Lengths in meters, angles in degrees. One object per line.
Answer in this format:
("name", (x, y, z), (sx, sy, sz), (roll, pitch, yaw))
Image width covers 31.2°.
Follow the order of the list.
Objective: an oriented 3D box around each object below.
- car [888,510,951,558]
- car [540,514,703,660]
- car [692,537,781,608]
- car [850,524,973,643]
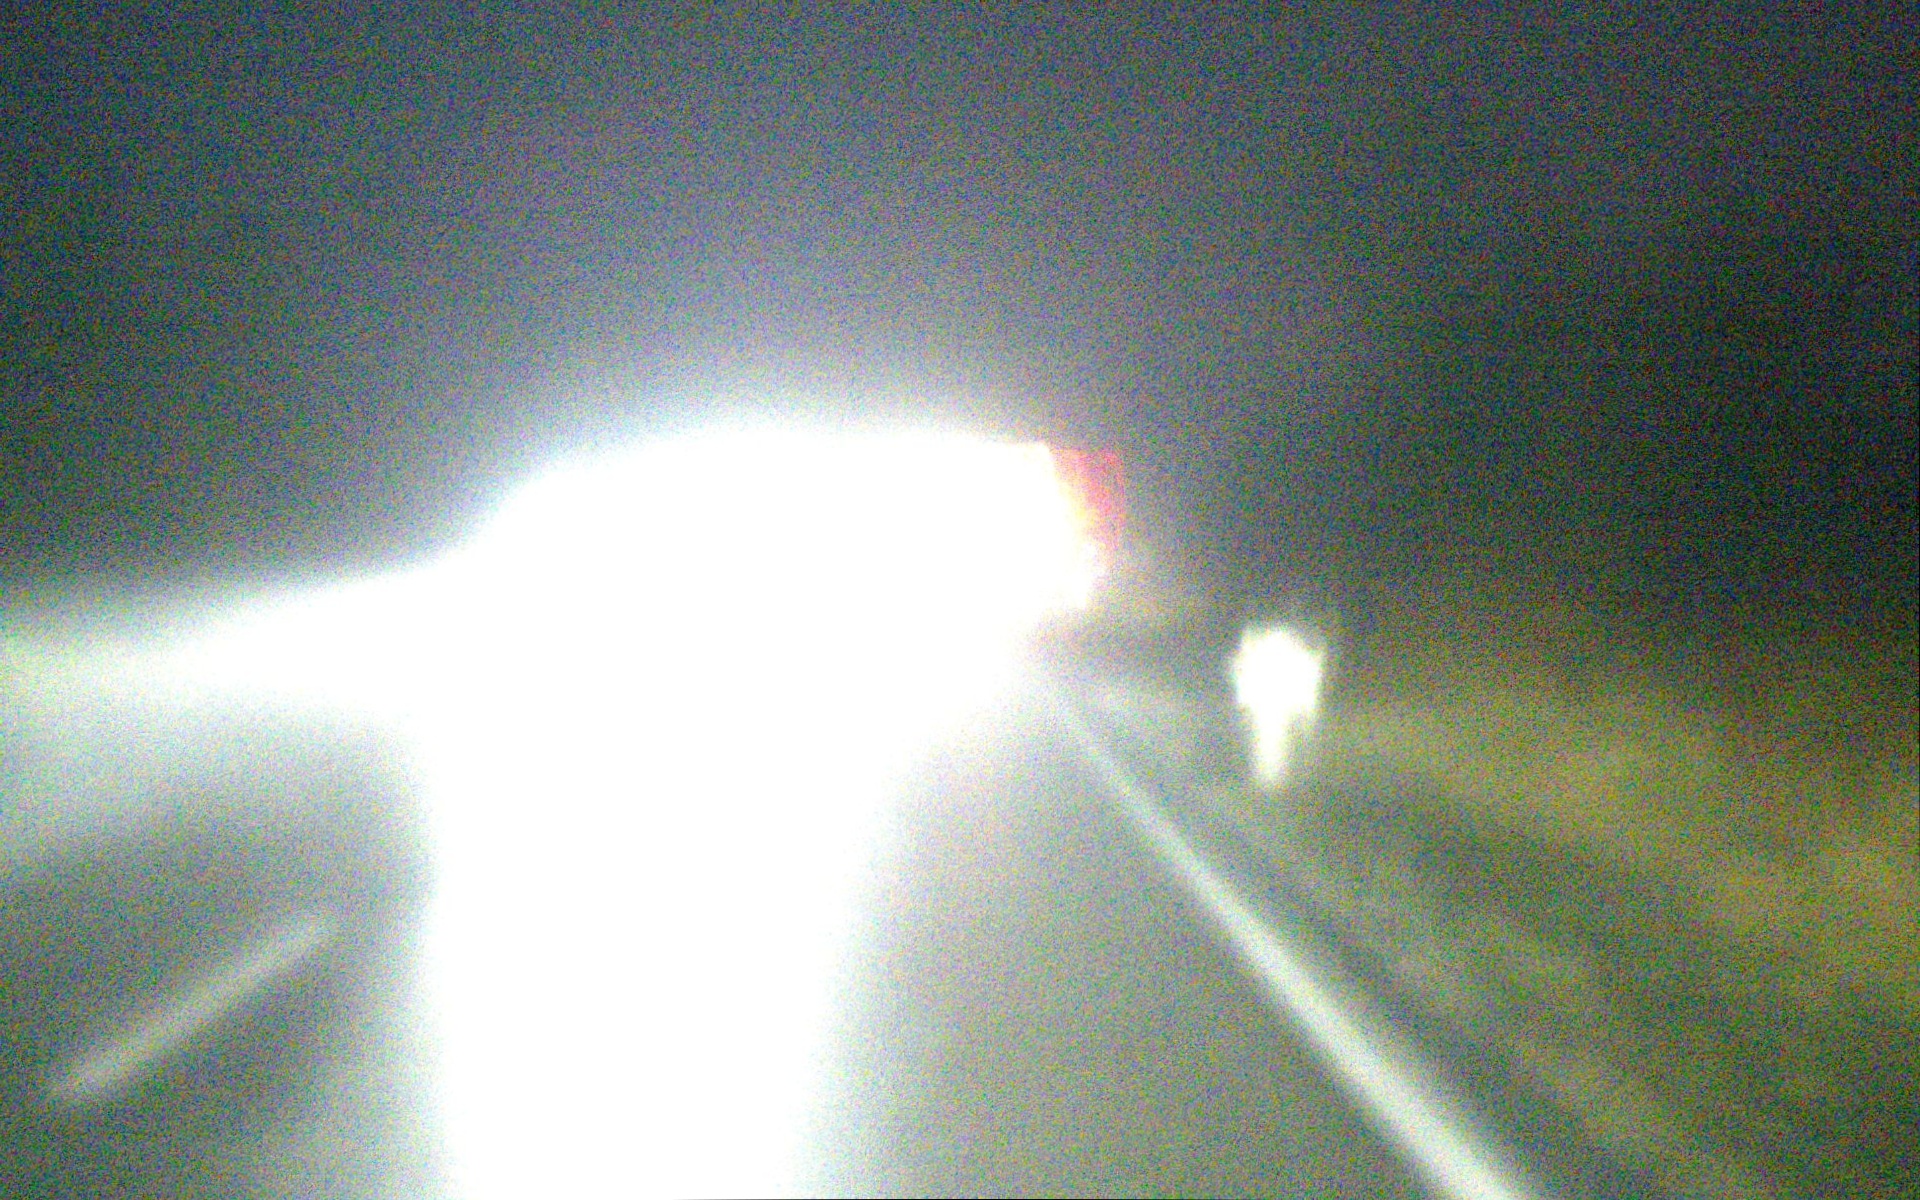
("car", (-1.433, -2.384, 123.954), (1.994, 1.618, 4.000), (2, 1, 2))
("car", (-4.633, -0.185, 47.532), (1.803, 1.921, 4.000), (1, 0, 1))
("car", (-4.552, -0.554, 70.442), (1.596, 1.397, 3.470), (1, 0, 0))
("car", (-0.775, -0.298, 54.582), (1.842, 1.734, 4.001), (1, 2, -1))
